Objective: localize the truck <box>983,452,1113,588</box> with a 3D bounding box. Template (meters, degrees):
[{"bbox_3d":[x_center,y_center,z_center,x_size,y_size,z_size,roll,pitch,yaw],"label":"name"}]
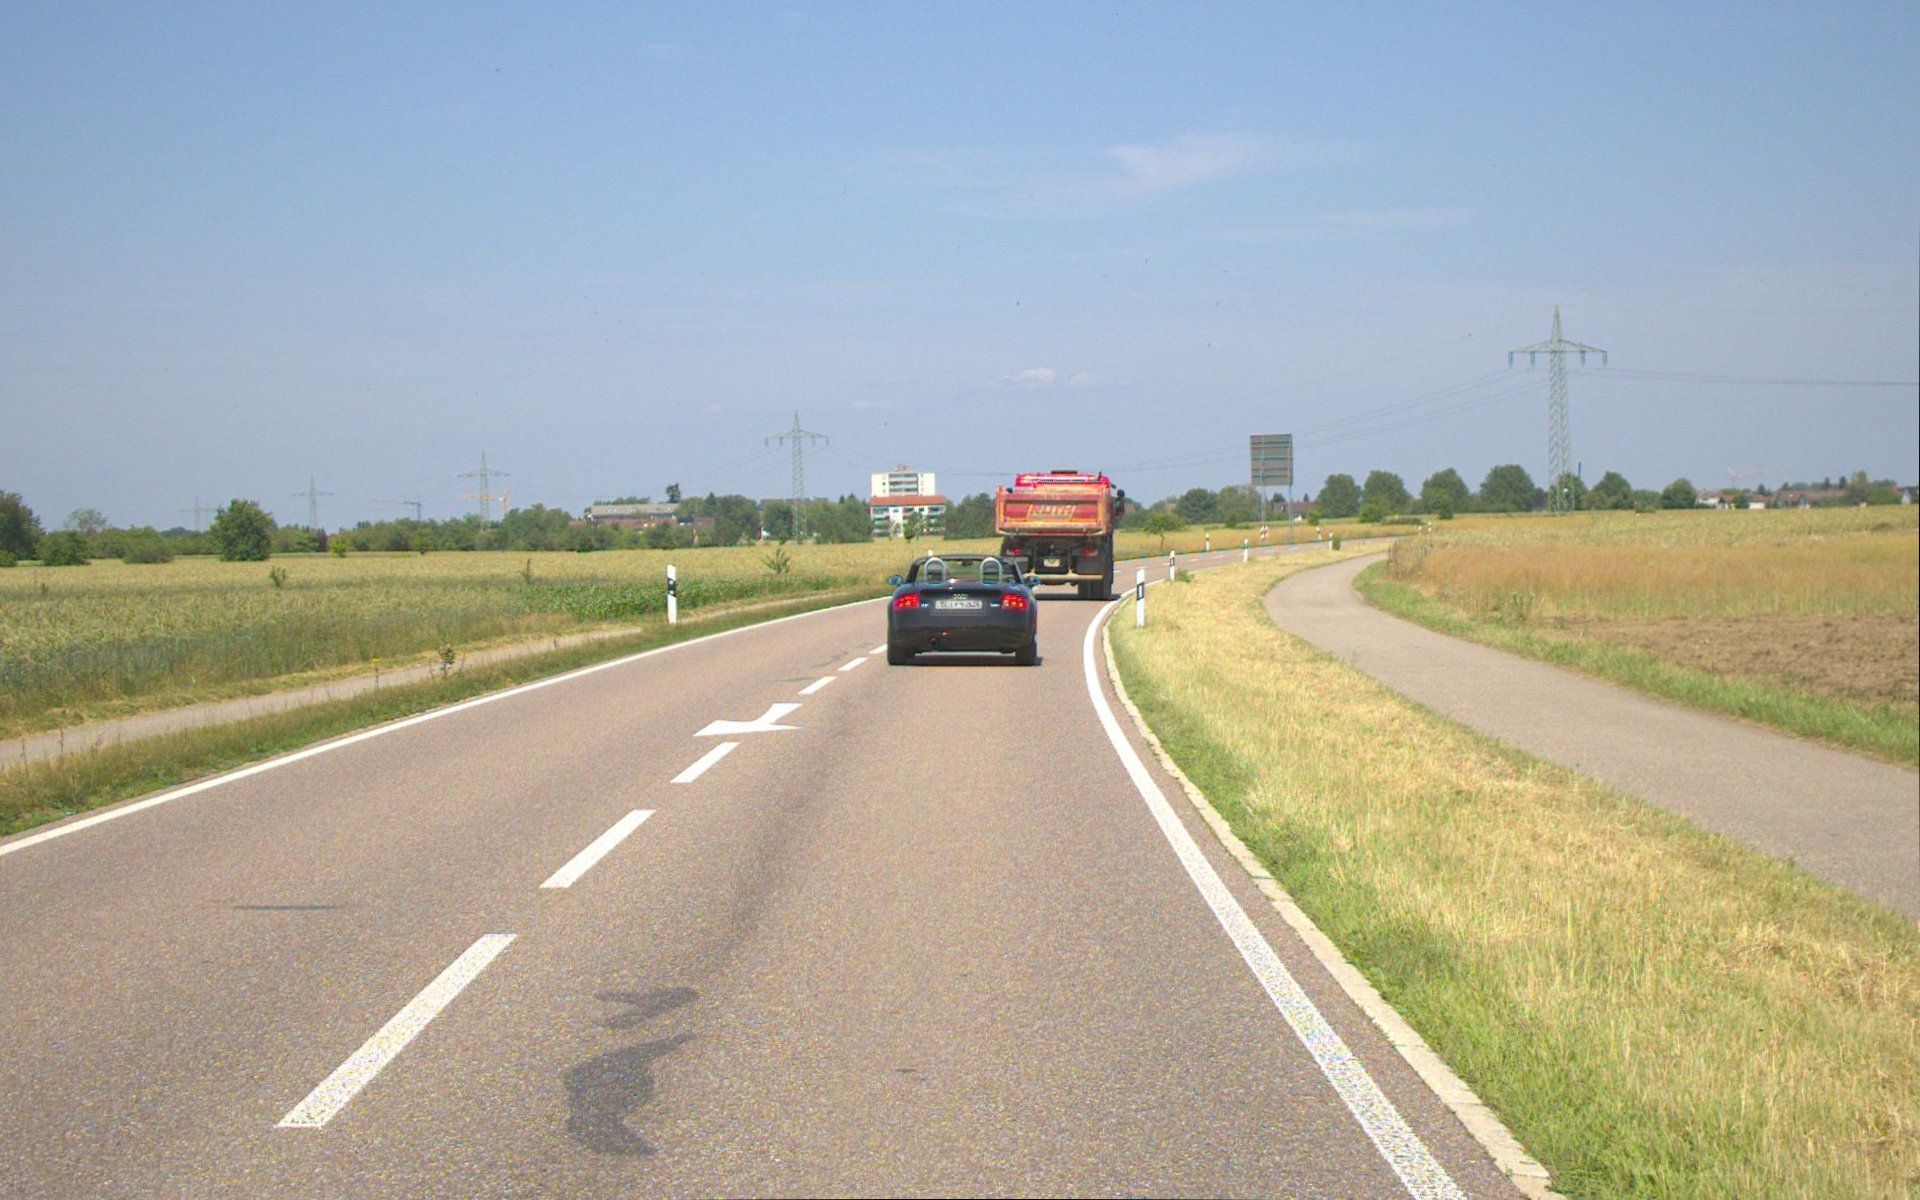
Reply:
[{"bbox_3d":[2.151,-1.860,82.008,2.938,3.078,7.196,0,1,2],"label":"truck"}]

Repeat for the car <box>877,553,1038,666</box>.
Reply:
[{"bbox_3d":[0.016,0.078,41.188,1.744,1.275,4.000,0,1,3],"label":"car"}]
